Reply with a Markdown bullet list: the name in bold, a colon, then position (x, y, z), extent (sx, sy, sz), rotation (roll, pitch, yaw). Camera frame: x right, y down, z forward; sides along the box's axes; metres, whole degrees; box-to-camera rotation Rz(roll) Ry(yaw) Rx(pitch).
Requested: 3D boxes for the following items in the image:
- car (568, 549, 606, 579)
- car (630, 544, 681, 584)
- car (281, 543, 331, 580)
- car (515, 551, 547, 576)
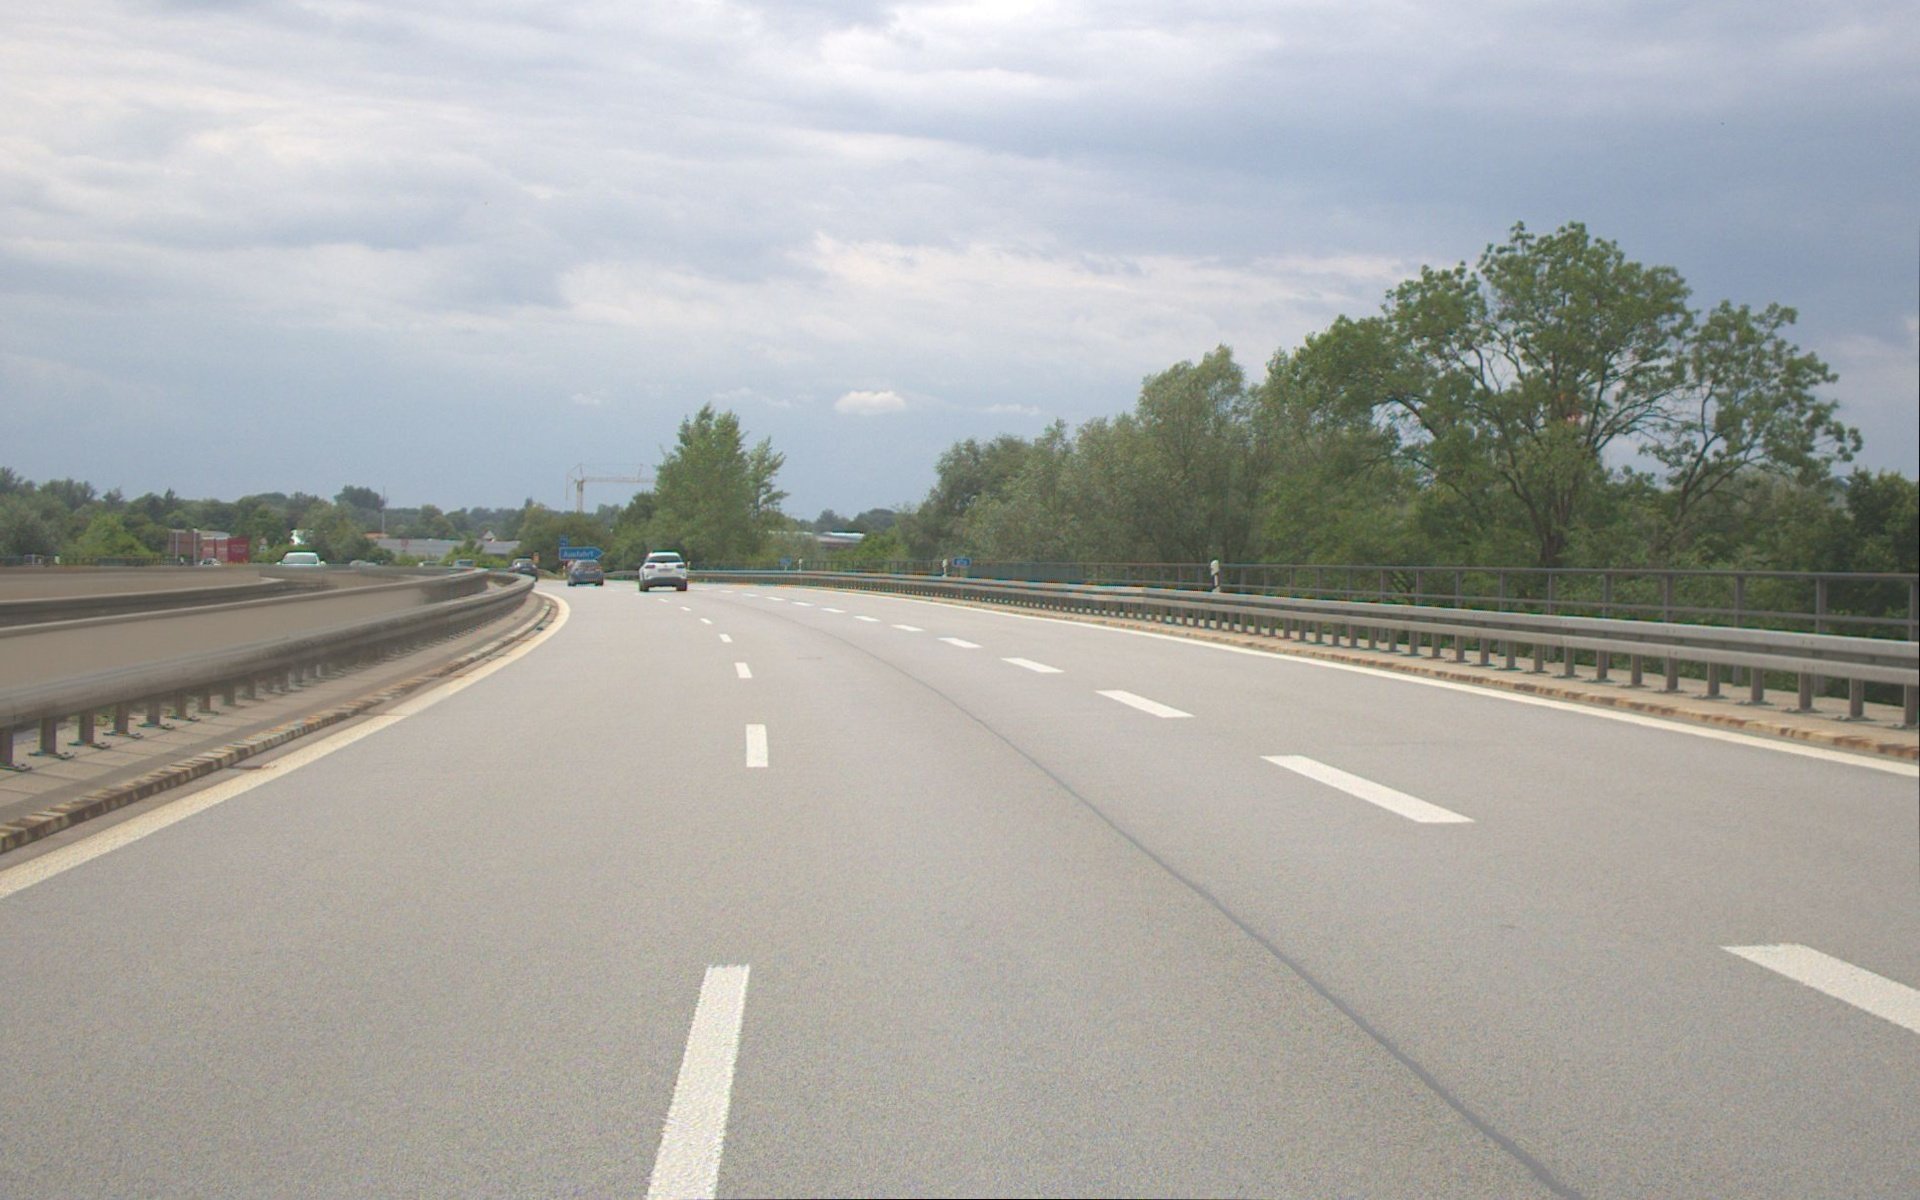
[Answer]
- **car**: position (-20.880, -2.045, 192.215), extent (1.892, 1.634, 4.623), rotation (0, 1, -9)
- **car**: position (-12.922, -1.541, 145.771), extent (1.902, 1.634, 4.397), rotation (0, 1, -9)
- **car**: position (-25.664, -1.534, 134.974), extent (1.531, 1.402, 4.329), rotation (0, 1, -6)
- **car**: position (-29.121, -2.470, 233.439), extent (1.902, 1.634, 4.781), rotation (0, 1, -10)
